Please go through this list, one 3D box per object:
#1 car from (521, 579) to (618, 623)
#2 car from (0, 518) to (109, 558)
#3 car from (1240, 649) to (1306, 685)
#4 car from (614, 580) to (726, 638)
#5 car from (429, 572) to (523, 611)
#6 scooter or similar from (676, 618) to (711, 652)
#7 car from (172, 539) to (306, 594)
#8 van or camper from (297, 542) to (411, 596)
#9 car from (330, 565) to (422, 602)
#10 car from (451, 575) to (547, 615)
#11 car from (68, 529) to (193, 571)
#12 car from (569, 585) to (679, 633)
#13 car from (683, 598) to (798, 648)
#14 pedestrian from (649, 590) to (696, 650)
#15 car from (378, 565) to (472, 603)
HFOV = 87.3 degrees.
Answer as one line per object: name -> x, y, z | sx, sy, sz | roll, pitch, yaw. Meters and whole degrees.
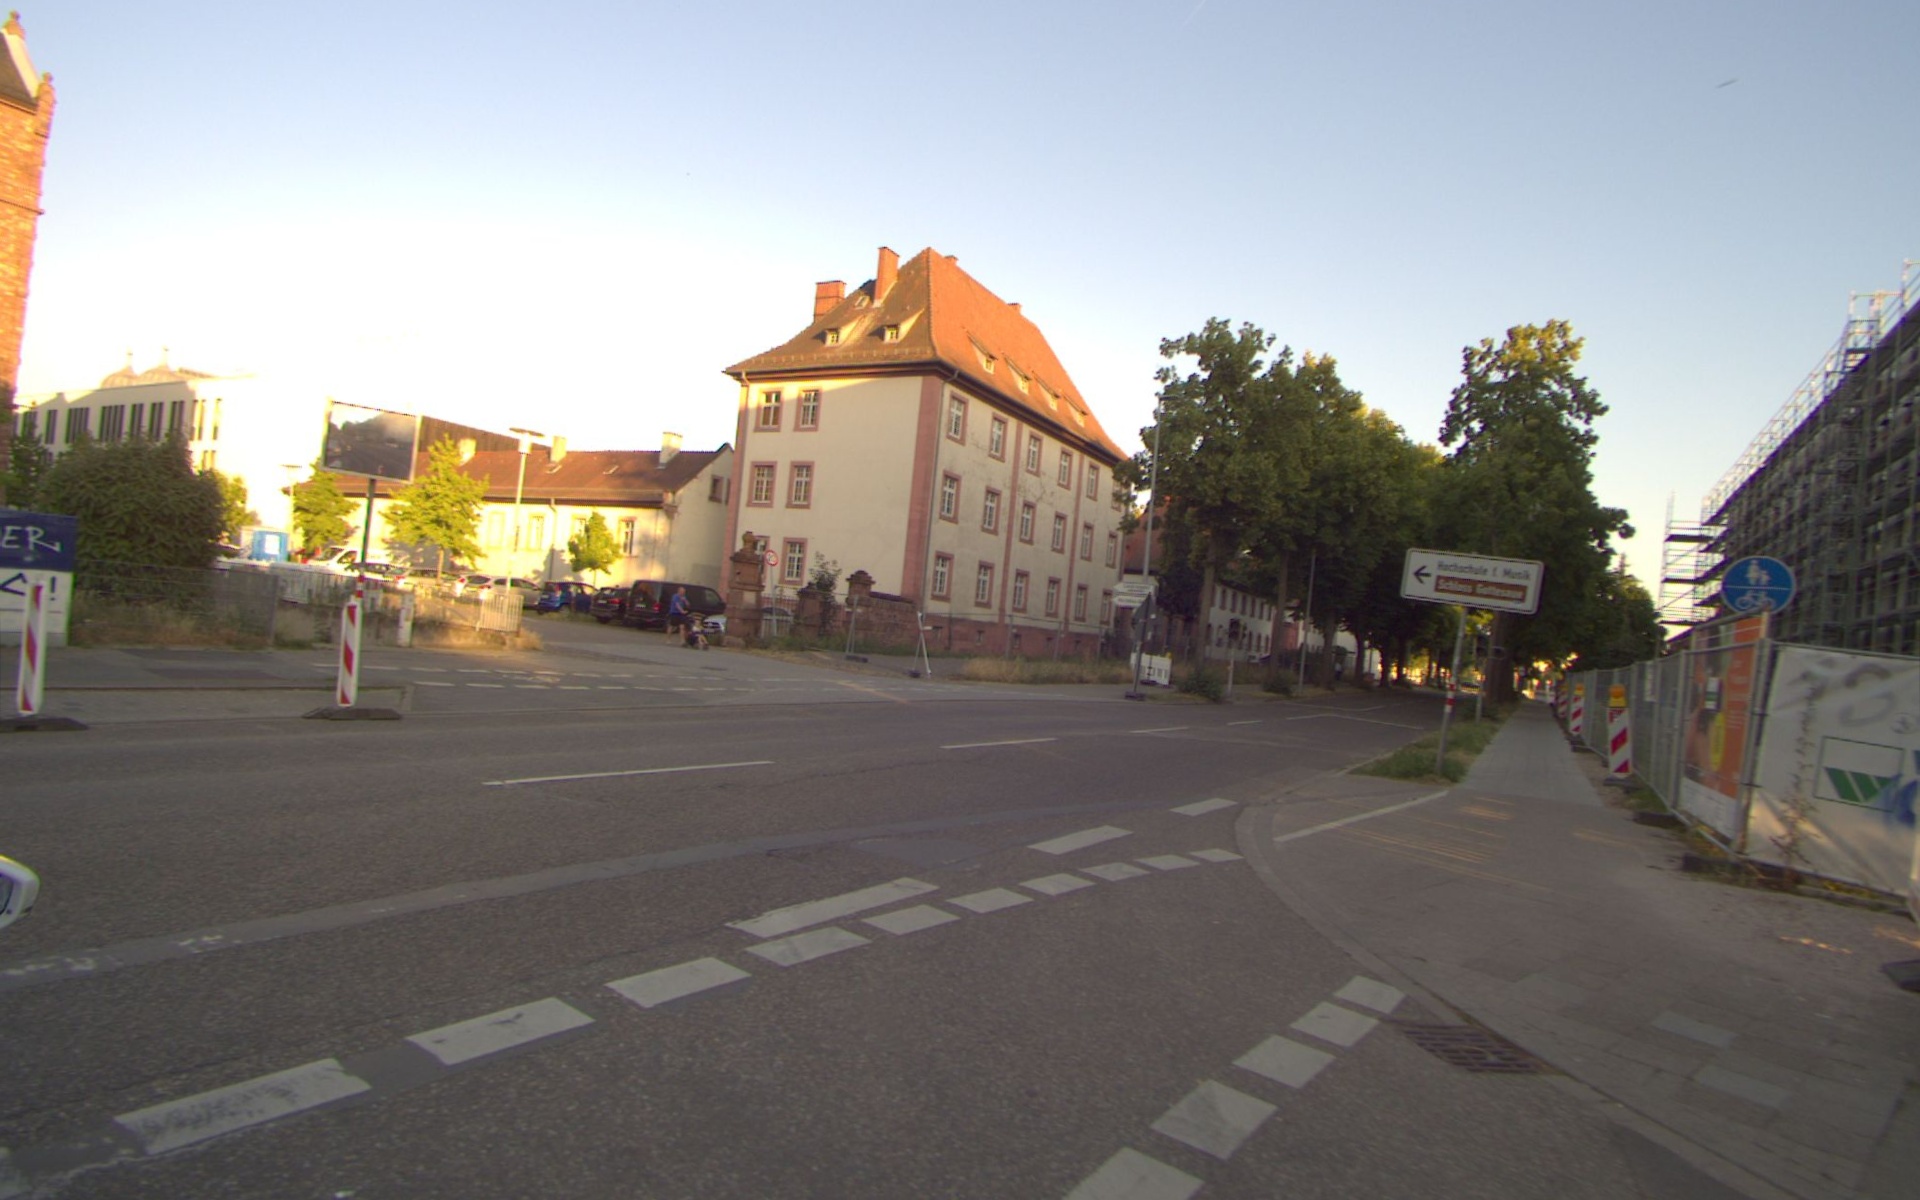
car -> -17.163, 0.066, 44.359 | 1.658, 1.547, 3.749 | 5, -2, 27
car -> -44.120, -3.004, 48.724 | 1.846, 1.328, 3.995 | 5, -2, 30
car -> 21.593, 4.616, 69.351 | 3.930, 2.038, 1.998 | 5, -1, 27
car -> -11.532, 0.387, 40.207 | 1.965, 1.880, 3.997 | 5, -2, 28
car -> -23.319, -0.397, 48.621 | 1.658, 1.462, 3.749 | 5, -2, 27
scooter or similar -> -7.797, 1.014, 29.413 | 0.793, 0.901, 0.514 | 5, -1, 32
car -> -27.669, -1.252, 38.713 | 1.658, 1.622, 3.749 | 5, -2, 27
van or camper -> -32.622, -1.634, 54.330 | 1.658, 2.267, 4.974 | 5, -2, 27
car -> -30.339, -0.820, 52.385 | 1.658, 1.462, 3.749 | 5, -2, 27
car -> -21.311, -0.215, 46.631 | 1.658, 1.462, 3.749 | 5, -2, 27
car -> -38.567, -2.315, 46.867 | 2.029, 1.328, 3.996 | 6, -2, 30
car -> -13.903, 0.395, 41.873 | 1.965, 1.591, 3.997 | 5, -2, 28
car -> -8.101, 0.883, 37.459 | 1.965, 1.476, 3.997 | 5, -2, 27
pedestrian -> -8.573, 0.592, 30.016 | 0.998, 1.662, 0.750 | 5, -1, 32
car -> -26.474, -0.764, 49.914 | 1.658, 1.462, 3.749 | 5, -2, 27
